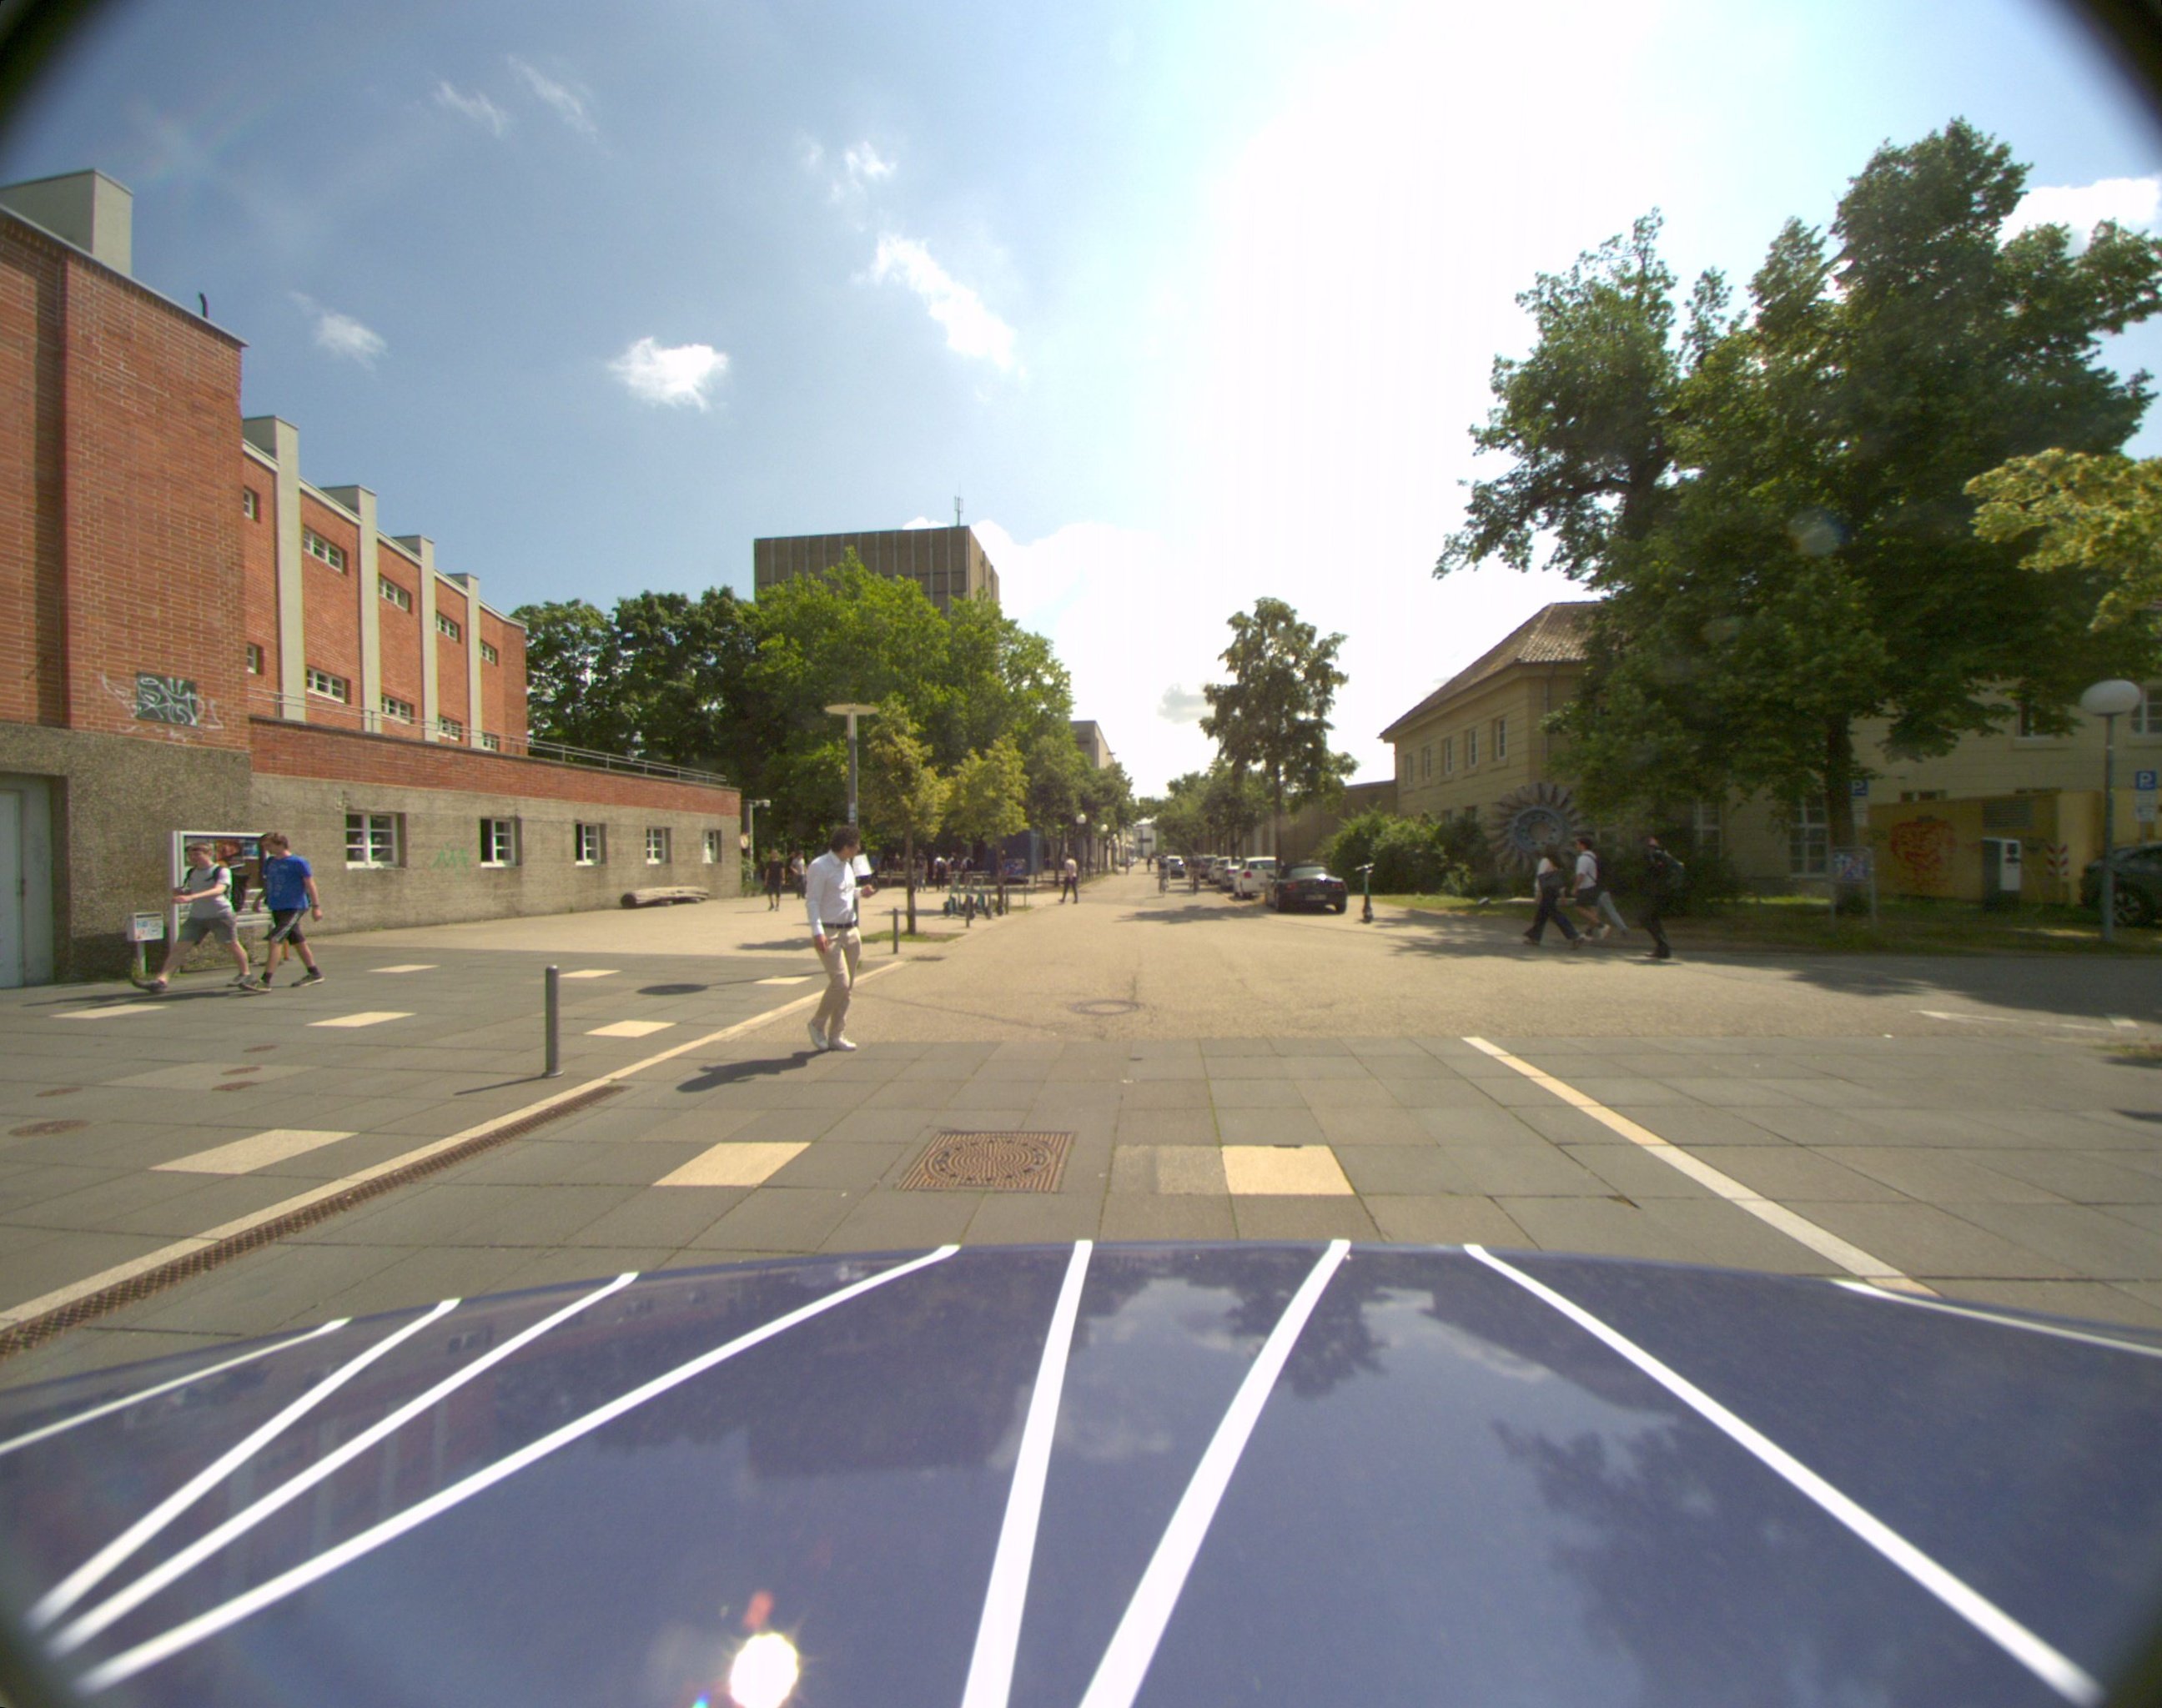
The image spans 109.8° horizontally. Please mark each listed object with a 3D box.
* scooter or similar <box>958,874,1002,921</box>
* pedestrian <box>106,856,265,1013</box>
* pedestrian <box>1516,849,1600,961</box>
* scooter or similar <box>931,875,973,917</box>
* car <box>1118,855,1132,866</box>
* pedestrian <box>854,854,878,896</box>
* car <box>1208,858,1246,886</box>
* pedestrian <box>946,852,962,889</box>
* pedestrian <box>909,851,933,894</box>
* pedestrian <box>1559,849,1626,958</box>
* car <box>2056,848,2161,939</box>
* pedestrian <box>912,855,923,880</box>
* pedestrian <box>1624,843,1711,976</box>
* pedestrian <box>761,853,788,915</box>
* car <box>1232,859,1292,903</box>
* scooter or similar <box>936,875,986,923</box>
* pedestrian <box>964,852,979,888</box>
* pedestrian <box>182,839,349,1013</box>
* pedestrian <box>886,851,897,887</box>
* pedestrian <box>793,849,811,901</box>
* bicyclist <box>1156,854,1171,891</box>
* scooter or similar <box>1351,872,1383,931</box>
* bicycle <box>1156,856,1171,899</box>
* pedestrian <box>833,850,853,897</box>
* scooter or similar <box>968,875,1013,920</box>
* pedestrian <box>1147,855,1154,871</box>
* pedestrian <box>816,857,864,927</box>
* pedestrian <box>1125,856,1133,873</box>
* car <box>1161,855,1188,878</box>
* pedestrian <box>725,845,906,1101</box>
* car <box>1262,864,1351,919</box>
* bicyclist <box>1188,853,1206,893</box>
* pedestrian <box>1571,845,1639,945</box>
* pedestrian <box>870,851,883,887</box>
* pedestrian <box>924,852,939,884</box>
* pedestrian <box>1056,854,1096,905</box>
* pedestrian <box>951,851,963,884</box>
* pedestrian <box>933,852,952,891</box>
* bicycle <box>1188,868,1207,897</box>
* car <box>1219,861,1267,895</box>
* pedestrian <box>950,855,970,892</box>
[{"bbox_3d":[-2.787,1.176,20.926,1.140,1.236,0.577,0,0,41],"label":"scooter or similar"},{"bbox_3d":[-10.279,0.877,8.768,0.586,1.697,1.002,0,1,6],"label":"pedestrian"},{"bbox_3d":[7.575,0.778,12.080,0.623,1.706,1.002,0,0,-42],"label":"pedestrian"},{"bbox_3d":[-3.804,1.212,22.529,0.575,1.173,1.480,0,0,19],"label":"scooter or similar"},{"bbox_3d":[6.690,0.964,115.935,1.998,1.648,4.001,0,0,4],"label":"car"},{"bbox_3d":[-9.197,0.906,32.518,0.796,1.755,0.670,-1,-1,44],"label":"pedestrian"},{"bbox_3d":[7.831,0.950,41.028,1.717,1.424,4.002,0,0,7],"label":"car"},{"bbox_3d":[-6.211,0.797,37.074,0.603,1.742,0.763,0,0,-22],"label":"pedestrian"},{"bbox_3d":[-7.283,0.827,34.512,0.983,1.934,0.977,0,0,-16],"label":"pedestrian"},{"bbox_3d":[8.696,0.811,12.923,0.898,1.776,0.728,0,1,38],"label":"pedestrian"},{"bbox_3d":[20.021,0.729,12.618,1.898,1.572,4.651,0,1,5],"label":"car"},{"bbox_3d":[-10.385,0.846,48.280,0.640,1.548,0.574,0,0,-22],"label":"pedestrian"},{"bbox_3d":[8.163,0.740,10.605,0.870,1.776,0.570,0,0,29],"label":"pedestrian"},{"bbox_3d":[-8.987,0.872,22.299,0.586,1.768,0.798,0,1,-10],"label":"pedestrian"},{"bbox_3d":[6.375,0.928,27.085,1.634,1.422,3.634,-1,0,6],"label":"car"},{"bbox_3d":[-3.192,1.174,20.231,1.352,1.223,0.577,0,0,41],"label":"scooter or similar"},{"bbox_3d":[-5.396,0.793,37.405,0.622,1.729,0.774,0,0,-16],"label":"pedestrian"},{"bbox_3d":[-9.418,0.772,8.829,0.665,1.879,1.111,1,1,12],"label":"pedestrian"},{"bbox_3d":[-9.562,0.743,38.283,0.541,1.783,0.644,0,0,-14],"label":"pedestrian"},{"bbox_3d":[-10.659,0.814,29.034,0.566,1.917,0.889,-2,-2,-20],"label":"pedestrian"},{"bbox_3d":[3.349,0.742,30.683,0.587,1.444,1.234,0,0,7],"label":"bicyclist"},{"bbox_3d":[6.229,1.011,16.597,0.470,1.209,1.205,0,0,11],"label":"scooter or similar"},{"bbox_3d":[3.348,0.937,30.648,0.588,1.670,1.760,0,0,7],"label":"bicycle"},{"bbox_3d":[-9.756,0.791,31.137,0.670,1.875,0.971,-1,-2,-23],"label":"pedestrian"},{"bbox_3d":[-2.605,1.222,21.737,1.261,1.225,0.577,0,0,41],"label":"scooter or similar"},{"bbox_3d":[7.619,0.968,82.917,0.536,1.672,0.587,0,0,40],"label":"pedestrian"},{"bbox_3d":[-5.971,0.907,18.861,0.784,1.666,1.079,0,1,3],"label":"pedestrian"},{"bbox_3d":[4.186,0.920,66.384,0.585,1.433,0.639,0,0,7],"label":"pedestrian"},{"bbox_3d":[7.012,0.916,57.026,1.931,1.624,4.374,0,0,7],"label":"car"},{"bbox_3d":[-2.136,0.859,6.135,1.022,1.837,0.918,2,1,34],"label":"pedestrian"},{"bbox_3d":[6.021,0.956,20.666,1.700,1.287,3.764,0,0,7],"label":"car"},{"bbox_3d":[4.787,0.776,31.331,0.629,1.596,1.329,0,0,4],"label":"bicyclist"},{"bbox_3d":[9.332,0.703,13.538,0.970,1.706,0.559,0,1,36],"label":"pedestrian"},{"bbox_3d":[-10.238,0.744,38.056,0.566,1.783,0.644,0,0,-10],"label":"pedestrian"},{"bbox_3d":[-7.968,0.739,40.532,0.640,1.697,0.713,0,0,-22],"label":"pedestrian"},{"bbox_3d":[-0.190,0.898,27.398,0.984,1.776,1.092,0,0,-34],"label":"pedestrian"},{"bbox_3d":[-6.978,0.749,42.835,0.640,1.859,0.537,0,0,-15],"label":"pedestrian"},{"bbox_3d":[-6.359,0.813,34.897,0.782,1.781,0.714,0,0,-16],"label":"pedestrian"},{"bbox_3d":[4.761,1.141,31.218,0.626,1.135,1.813,0,0,4],"label":"bicycle"},{"bbox_3d":[6.948,0.995,32.917,1.647,1.368,4.002,0,0,7],"label":"car"},{"bbox_3d":[-5.610,0.903,35.237,0.752,1.663,0.844,0,0,-20],"label":"pedestrian"}]
